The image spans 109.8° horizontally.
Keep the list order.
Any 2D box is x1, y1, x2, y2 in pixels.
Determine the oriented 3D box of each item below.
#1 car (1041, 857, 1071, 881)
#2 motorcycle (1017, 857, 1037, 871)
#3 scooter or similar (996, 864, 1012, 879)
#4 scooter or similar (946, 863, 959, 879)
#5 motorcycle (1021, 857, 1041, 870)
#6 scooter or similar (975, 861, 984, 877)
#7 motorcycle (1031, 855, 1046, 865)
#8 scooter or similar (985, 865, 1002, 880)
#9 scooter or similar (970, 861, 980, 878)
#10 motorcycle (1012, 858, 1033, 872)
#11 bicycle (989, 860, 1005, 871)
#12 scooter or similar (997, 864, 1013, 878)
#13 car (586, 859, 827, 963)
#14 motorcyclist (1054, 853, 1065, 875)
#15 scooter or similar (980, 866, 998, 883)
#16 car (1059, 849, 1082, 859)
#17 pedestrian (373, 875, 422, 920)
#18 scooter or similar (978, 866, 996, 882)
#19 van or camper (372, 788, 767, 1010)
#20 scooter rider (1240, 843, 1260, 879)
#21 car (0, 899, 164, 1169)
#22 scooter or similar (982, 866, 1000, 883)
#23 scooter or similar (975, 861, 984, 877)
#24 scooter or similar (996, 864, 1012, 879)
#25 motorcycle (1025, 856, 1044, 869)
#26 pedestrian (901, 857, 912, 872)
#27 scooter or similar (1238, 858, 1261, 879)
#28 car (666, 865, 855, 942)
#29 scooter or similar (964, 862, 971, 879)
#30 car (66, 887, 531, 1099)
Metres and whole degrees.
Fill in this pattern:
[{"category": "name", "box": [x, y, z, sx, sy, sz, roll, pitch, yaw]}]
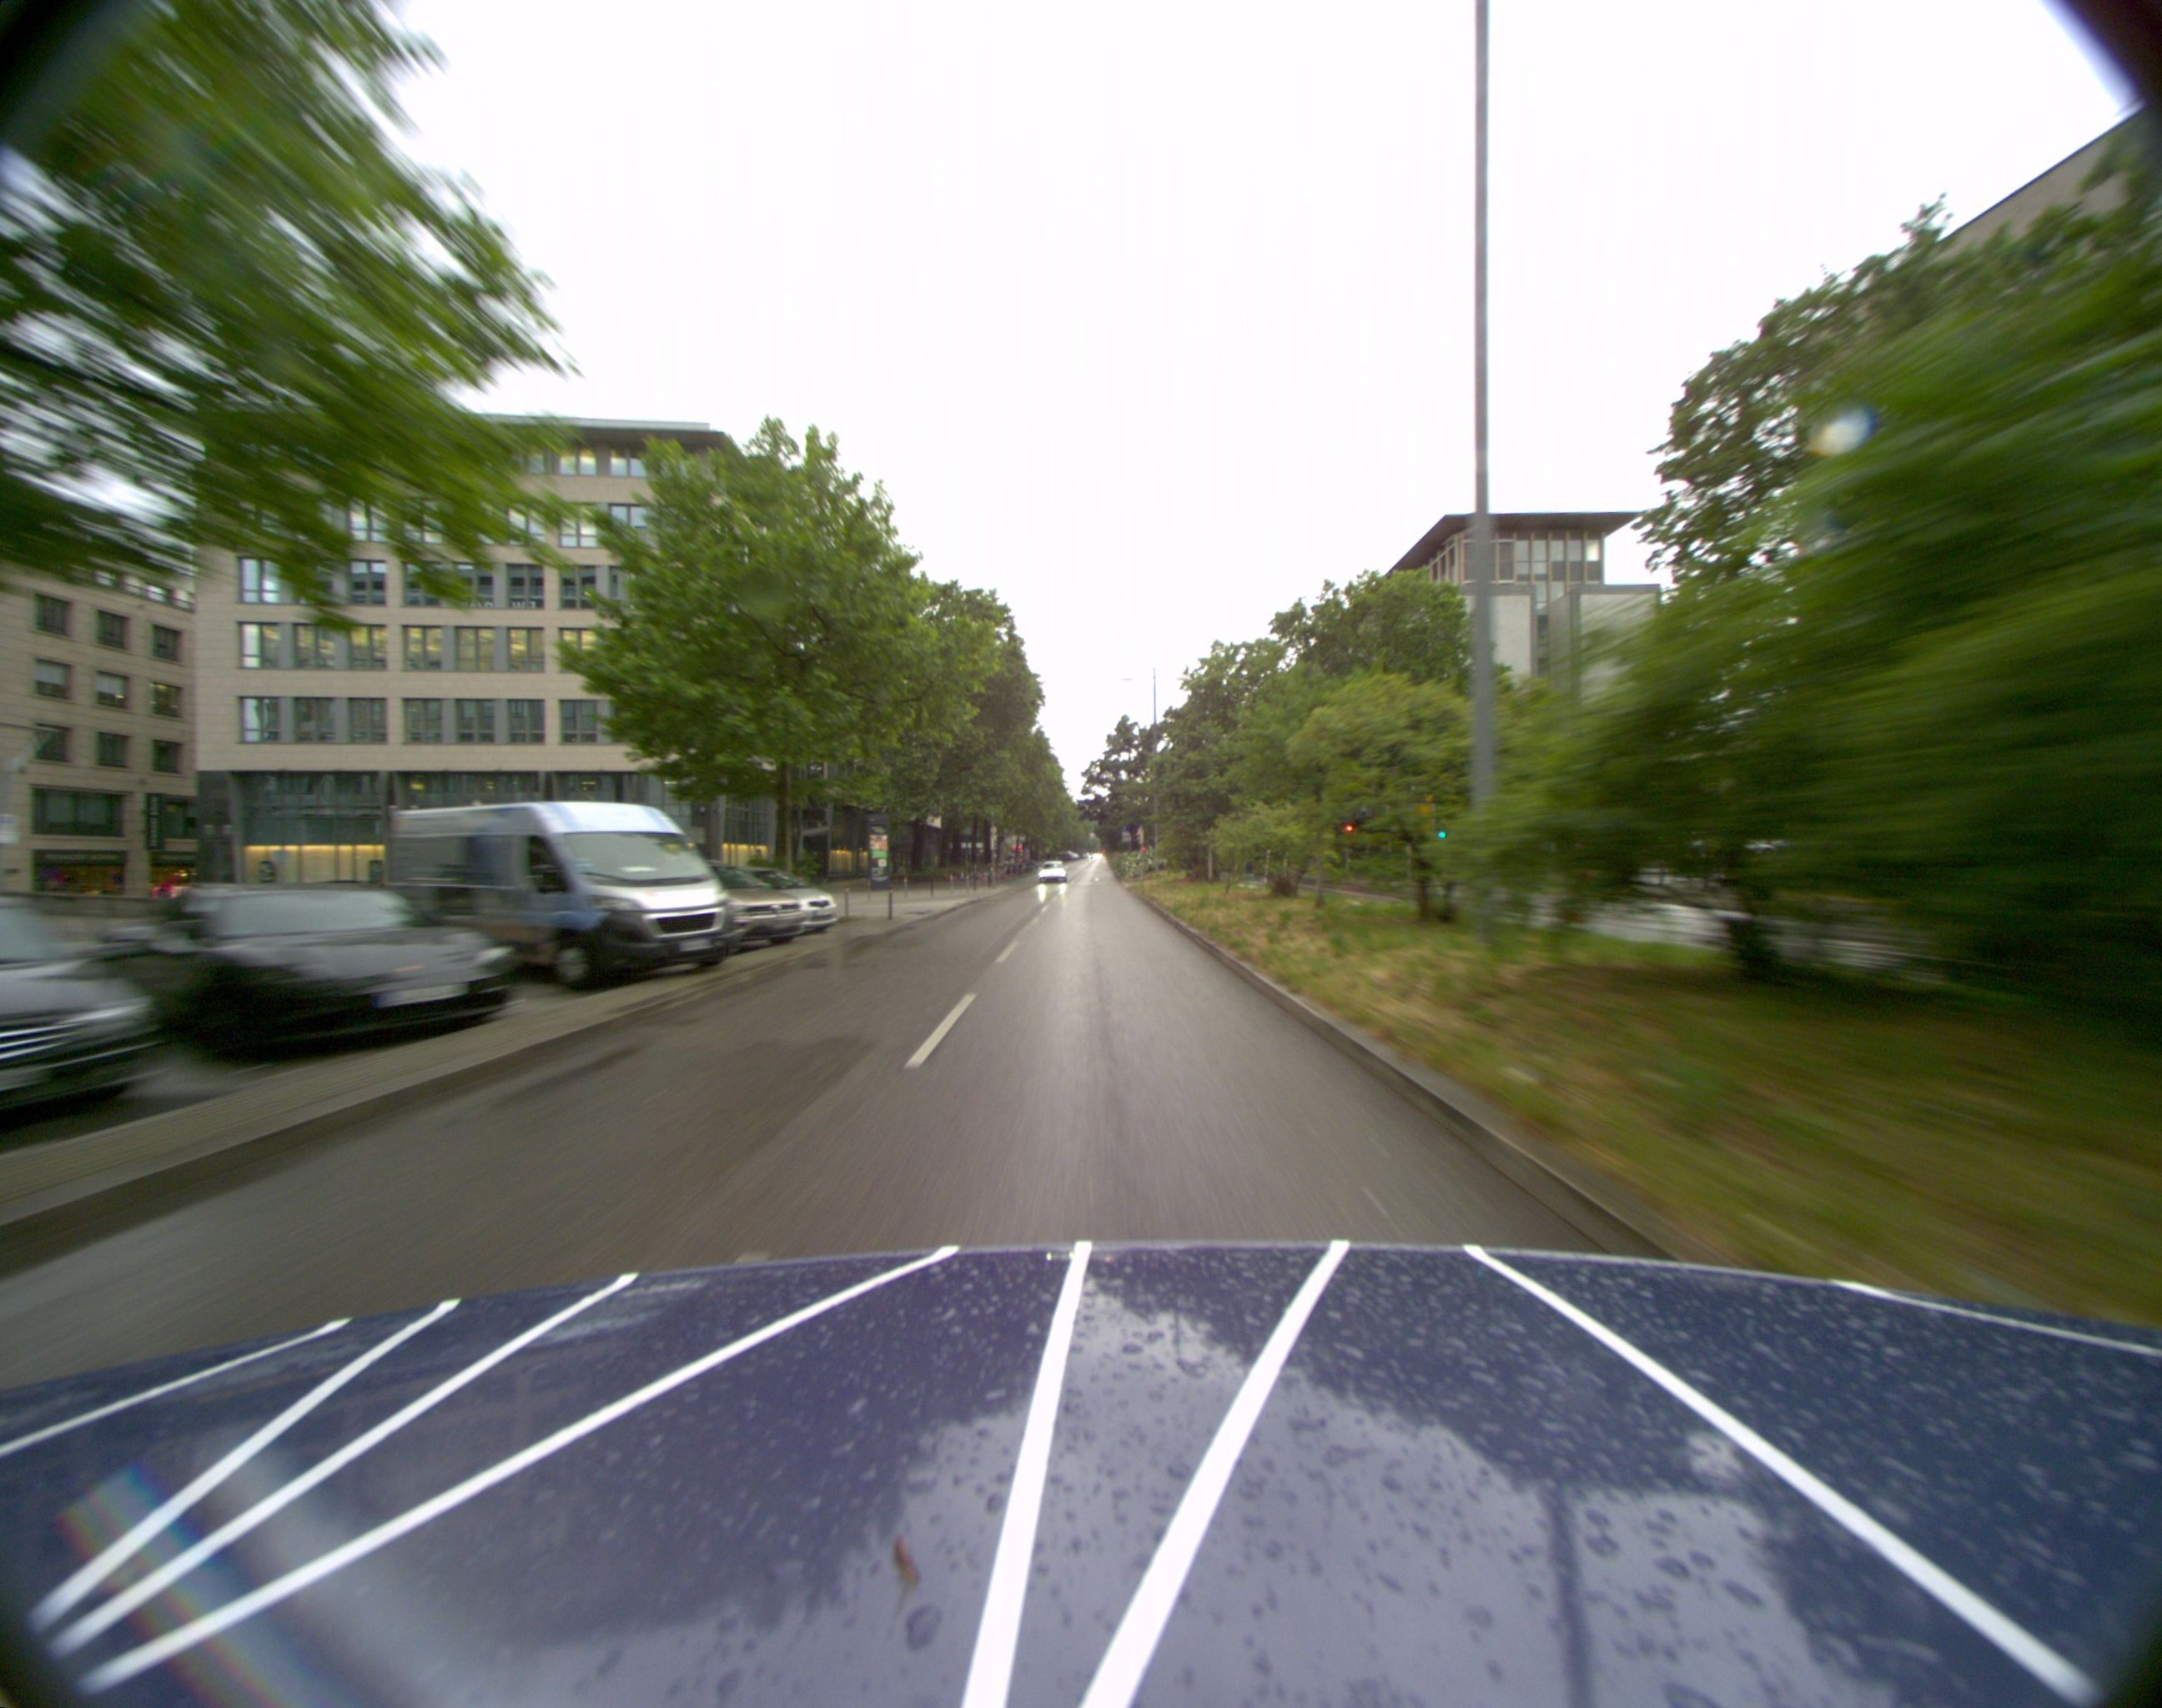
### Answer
[{"category": "car", "box": [-1.688, 1.019, 52.816, 1.795, 1.463, 3.794, -2, 0, 2]}, {"category": "motorcycle", "box": [-5.527, 1.055, 77.653, 1.964, 1.365, 0.728, 1, -1, -20]}, {"category": "scooter or similar", "box": [-6.541, 1.471, 64.801, 1.292, 1.270, 0.537, 0, -1, 6]}, {"category": "scooter or similar", "box": [-9.576, 1.245, 56.572, 0.490, 1.191, 1.290, -2, 1, -29]}, {"category": "motorcycle", "box": [-5.340, 1.025, 81.081, 1.964, 1.365, 0.728, 1, -1, -20]}, {"category": "scooter or similar", "box": [-8.062, 1.151, 60.171, 0.489, 1.252, 1.294, 0, -1, 2]}, {"category": "motorcycle", "box": [-5.639, 0.769, 101.056, 0.682, 1.359, 1.950, 3, 2, 42]}, {"category": "scooter or similar", "box": [-7.020, 1.505, 61.249, 1.292, 1.228, 0.489, 0, -1, 4]}, {"category": "scooter or similar", "box": [-7.980, 1.178, 57.153, 0.489, 1.252, 1.294, 0, -1, 2]}, {"category": "motorcycle", "box": [-5.759, 1.064, 74.334, 1.963, 1.365, 0.728, 0, -1, -14]}, {"category": "bicycle", "box": [-8.222, 1.138, 74.318, 0.637, 1.022, 1.766, -1, 1, 30]}, {"category": "scooter or similar", "box": [-6.544, 1.463, 65.245, 1.292, 1.270, 0.537, 0, -1, 6]}, {"category": "car", "box": [-7.022, 0.987, 14.210, 4.259, 1.658, 1.821, -2, 0, 27]}, {"category": "motorcyclist", "box": [-1.644, 0.755, 57.630, 0.744, 1.575, 1.059, -2, 1, 2]}, {"category": "scooter or similar", "box": [-6.925, 1.563, 57.216, 1.291, 1.252, 0.490, 0, -1, 13]}, {"category": "car", "box": [-2.857, -0.027, 205.872, 6.267, 2.665, 2.326, -1, 2, 38]}, {"category": "pedestrian", "box": [-27.465, 1.738, 30.549, 1.186, 1.686, 0.808, -2, 1, 4]}, {"category": "scooter or similar", "box": [-7.190, 1.552, 58.370, 1.291, 1.252, 0.490, 0, -1, 13]}, {"category": "van or camper", "box": [-7.561, 0.543, 11.042, 6.069, 2.543, 2.108, -1, 1, 28]}, {"category": "scooter rider", "box": [9.290, 0.386, 41.825, 0.902, 1.929, 0.757, -2, 1, -2]}, {"category": "car", "box": [-8.090, 1.098, 5.010, 4.202, 1.428, 1.723, -1, 1, 27]}, {"category": "scooter or similar", "box": [-6.830, 1.549, 57.824, 1.291, 1.252, 0.490, 0, -1, 13]}, {"category": "scooter or similar", "box": [-8.062, 1.151, 60.171, 0.489, 1.252, 1.294, 0, -1, 2]}, {"category": "scooter or similar", "box": [-6.487, 1.481, 64.114, 1.293, 1.270, 0.536, 0, -1, -9]}, {"category": "motorcycle", "box": [-5.250, 1.002, 85.473, 2.062, 1.420, 0.728, 1, -1, -20]}, {"category": "pedestrian", "box": [-19.065, 1.167, 82.977, 0.727, 1.683, 0.830, 0, 0, 44]}, {"category": "scooter or similar", "box": [9.280, 0.796, 41.862, 1.185, 1.107, 0.435, -2, 1, -2]}, {"category": "car", "box": [-7.124, 1.070, 16.946, 3.652, 1.538, 1.717, -2, 0, 21]}, {"category": "scooter or similar", "box": [-8.410, 1.208, 56.310, 0.489, 1.191, 1.292, -2, 1, -8]}, {"category": "car", "box": [-7.683, 1.099, 7.422, 4.390, 1.428, 1.944, -1, 1, 27]}]
